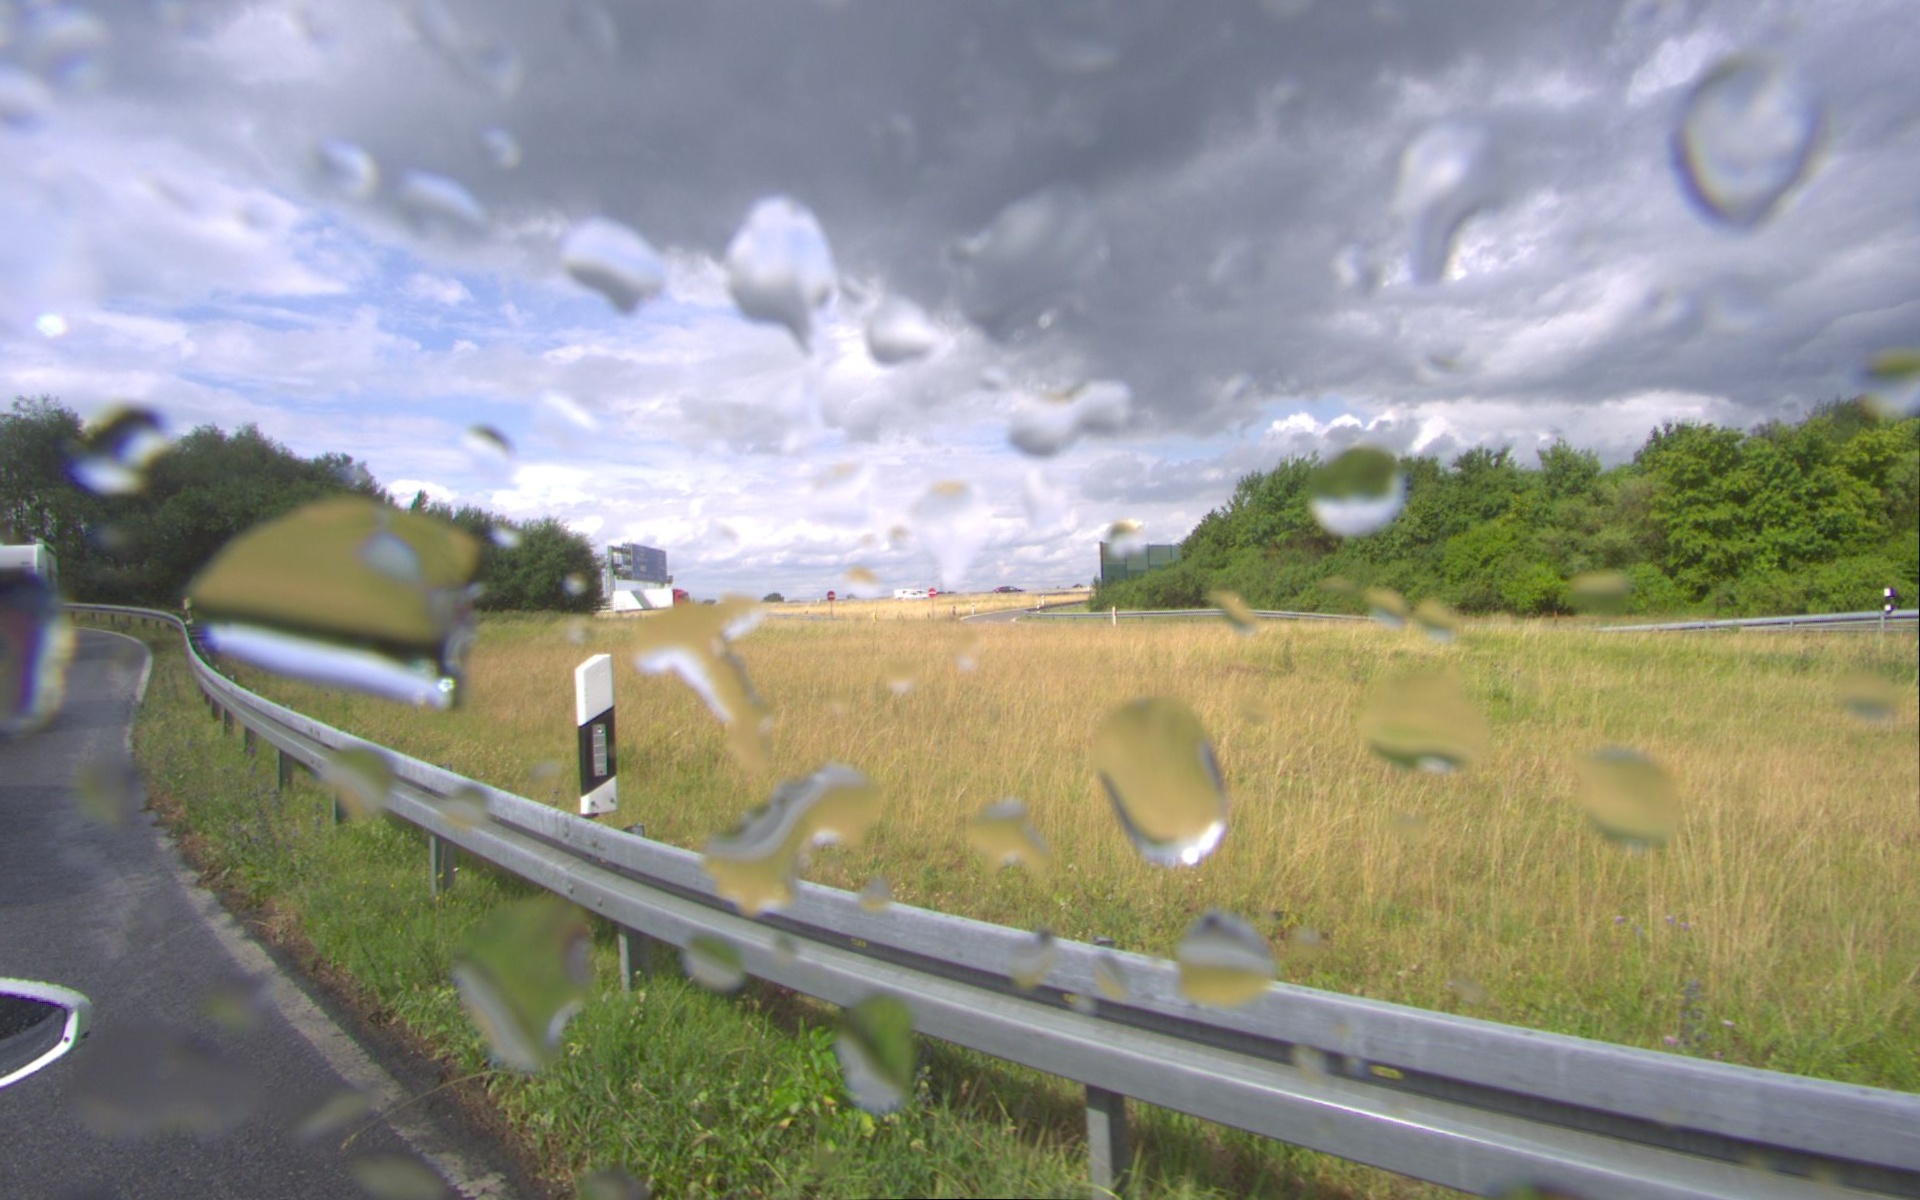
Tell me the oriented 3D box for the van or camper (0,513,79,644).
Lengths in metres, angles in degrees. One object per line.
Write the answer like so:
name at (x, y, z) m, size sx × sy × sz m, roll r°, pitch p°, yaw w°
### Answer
van or camper at (-22.290, -0.371, 23.251) m, size 2.410 × 2.764 × 5.955 m, roll 0°, pitch -2°, yaw -38°

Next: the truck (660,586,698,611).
truck at (-38.544, -0.208, 137.511) m, size 4.210 × 3.175 × 3.202 m, roll -3°, pitch -1°, yaw -3°

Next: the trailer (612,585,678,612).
trailer at (-43.131, -0.168, 137.262) m, size 8.044 × 3.251 × 3.192 m, roll -3°, pitch -1°, yaw -3°

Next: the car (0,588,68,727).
car at (-12.295, 0.670, 12.275) m, size 1.703 × 1.545 × 3.970 m, roll -1°, pitch 0°, yaw -37°
